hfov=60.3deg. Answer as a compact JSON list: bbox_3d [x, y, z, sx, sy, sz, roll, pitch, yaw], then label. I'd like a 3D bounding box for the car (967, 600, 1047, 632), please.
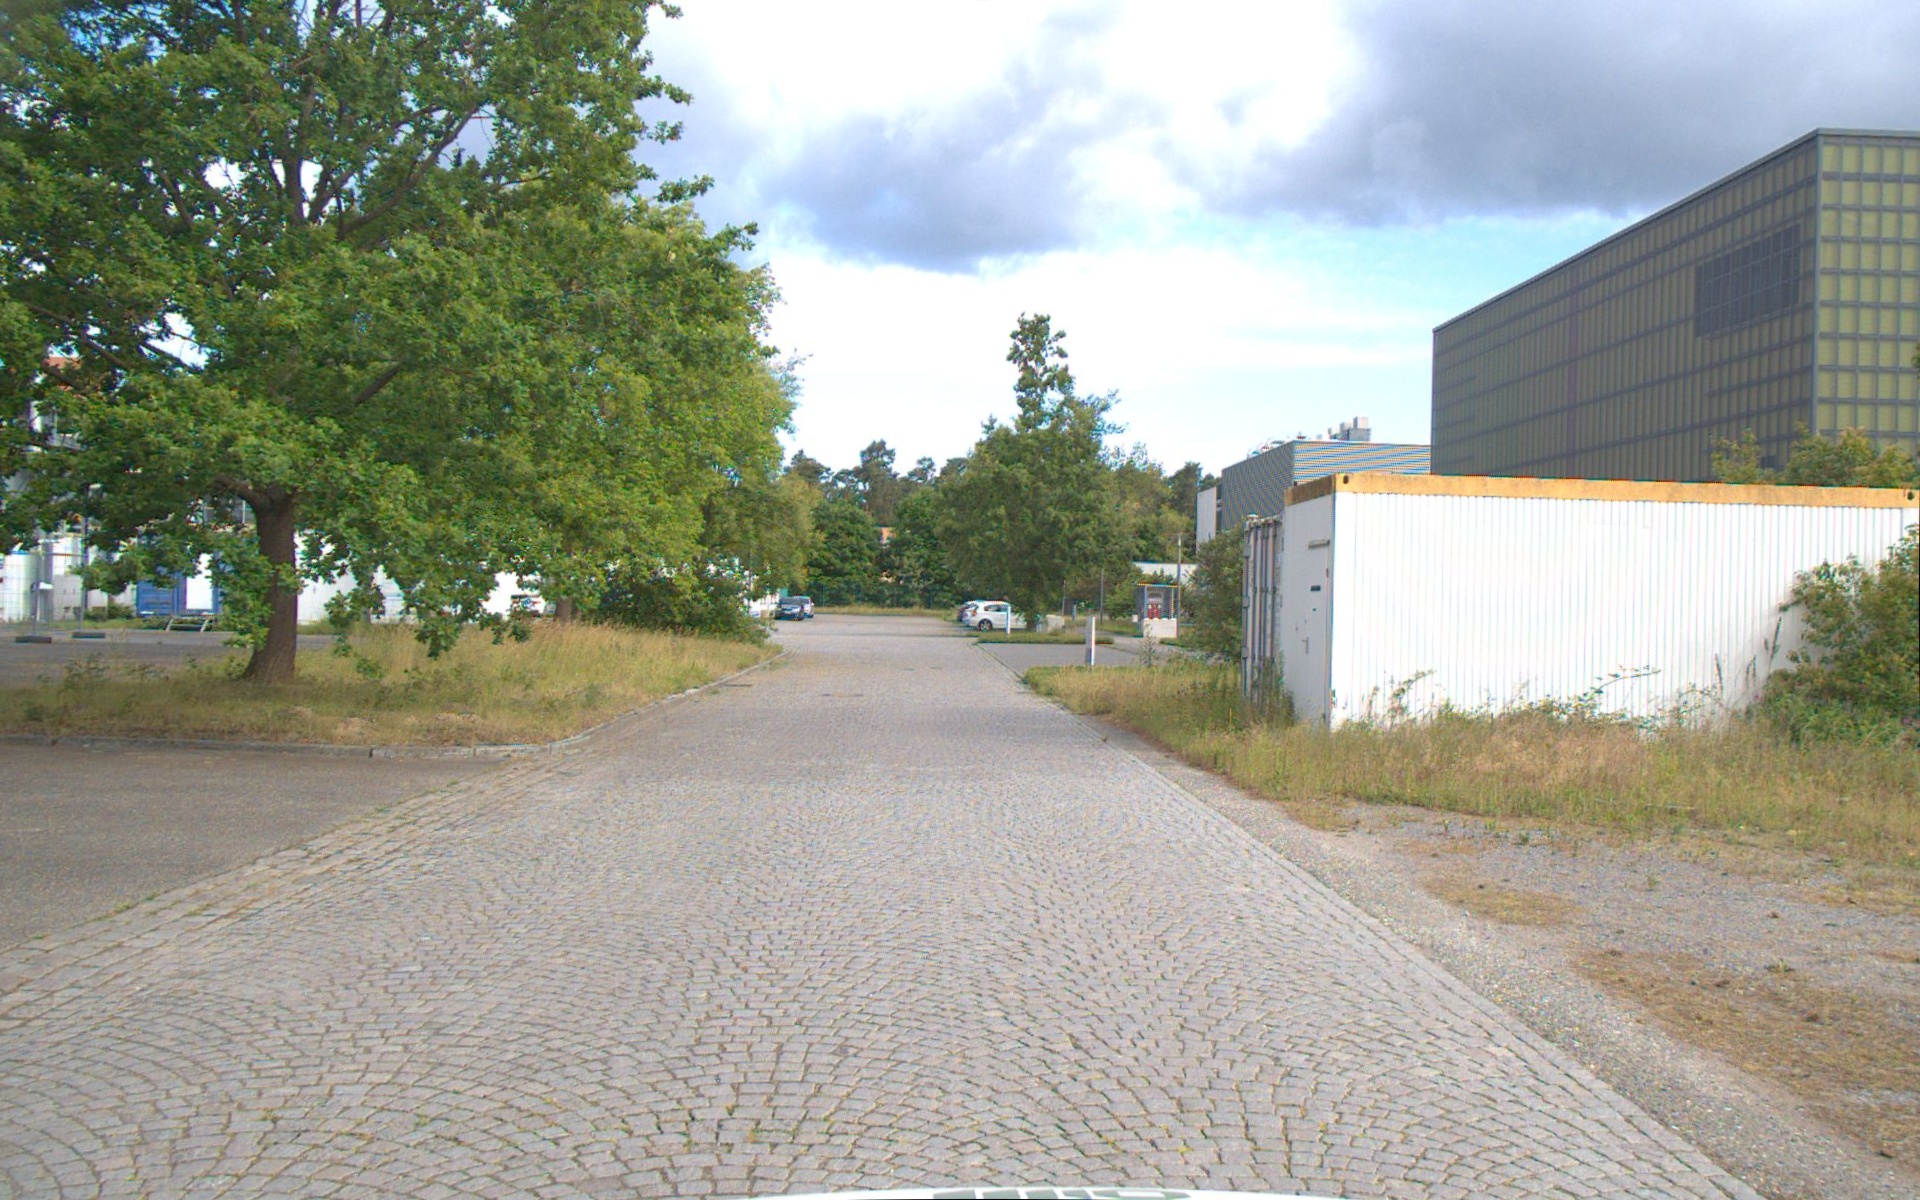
[{"bbox_3d":[2.335,0.816,83.277,3.906,1.481,1.999,2,-1,-2],"label":"car"}]

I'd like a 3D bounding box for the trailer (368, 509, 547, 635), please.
[{"bbox_3d":[-16.521,-0.850,55.363,2.602,3.770,10.721,1,0,0],"label":"trailer"}]

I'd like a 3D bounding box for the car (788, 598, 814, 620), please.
[{"bbox_3d":[-11.244,0.628,116.953,1.714,1.480,3.996,1,0,-4],"label":"car"}]

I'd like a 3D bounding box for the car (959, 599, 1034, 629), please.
[{"bbox_3d":[1.920,0.747,88.472,3.906,1.481,1.769,1,0,-2],"label":"car"}]

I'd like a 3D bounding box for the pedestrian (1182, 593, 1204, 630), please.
[{"bbox_3d":[13.009,0.644,92.415,0.903,2.049,1.144,1,0,-8],"label":"pedestrian"}]

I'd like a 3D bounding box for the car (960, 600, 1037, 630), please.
[{"bbox_3d":[1.970,0.770,85.432,3.906,1.481,1.697,1,0,-2],"label":"car"}]

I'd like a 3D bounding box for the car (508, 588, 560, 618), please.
[{"bbox_3d":[-24.009,0.160,93.340,1.862,1.602,3.999,1,0,-1],"label":"car"}]

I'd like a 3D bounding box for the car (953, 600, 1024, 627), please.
[{"bbox_3d":[1.571,0.757,93.364,3.906,1.481,1.769,1,0,-2],"label":"car"}]

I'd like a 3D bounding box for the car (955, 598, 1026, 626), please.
[{"bbox_3d":[1.778,0.677,96.589,3.910,1.560,1.997,1,0,-6],"label":"car"}]

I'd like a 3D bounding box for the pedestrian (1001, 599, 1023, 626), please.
[{"bbox_3d":[3.069,0.723,98.075,0.949,1.596,0.942,1,0,27],"label":"pedestrian"}]

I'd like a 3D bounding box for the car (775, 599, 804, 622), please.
[{"bbox_3d":[-11.000,0.658,106.728,1.714,1.388,3.996,1,0,-4],"label":"car"}]
